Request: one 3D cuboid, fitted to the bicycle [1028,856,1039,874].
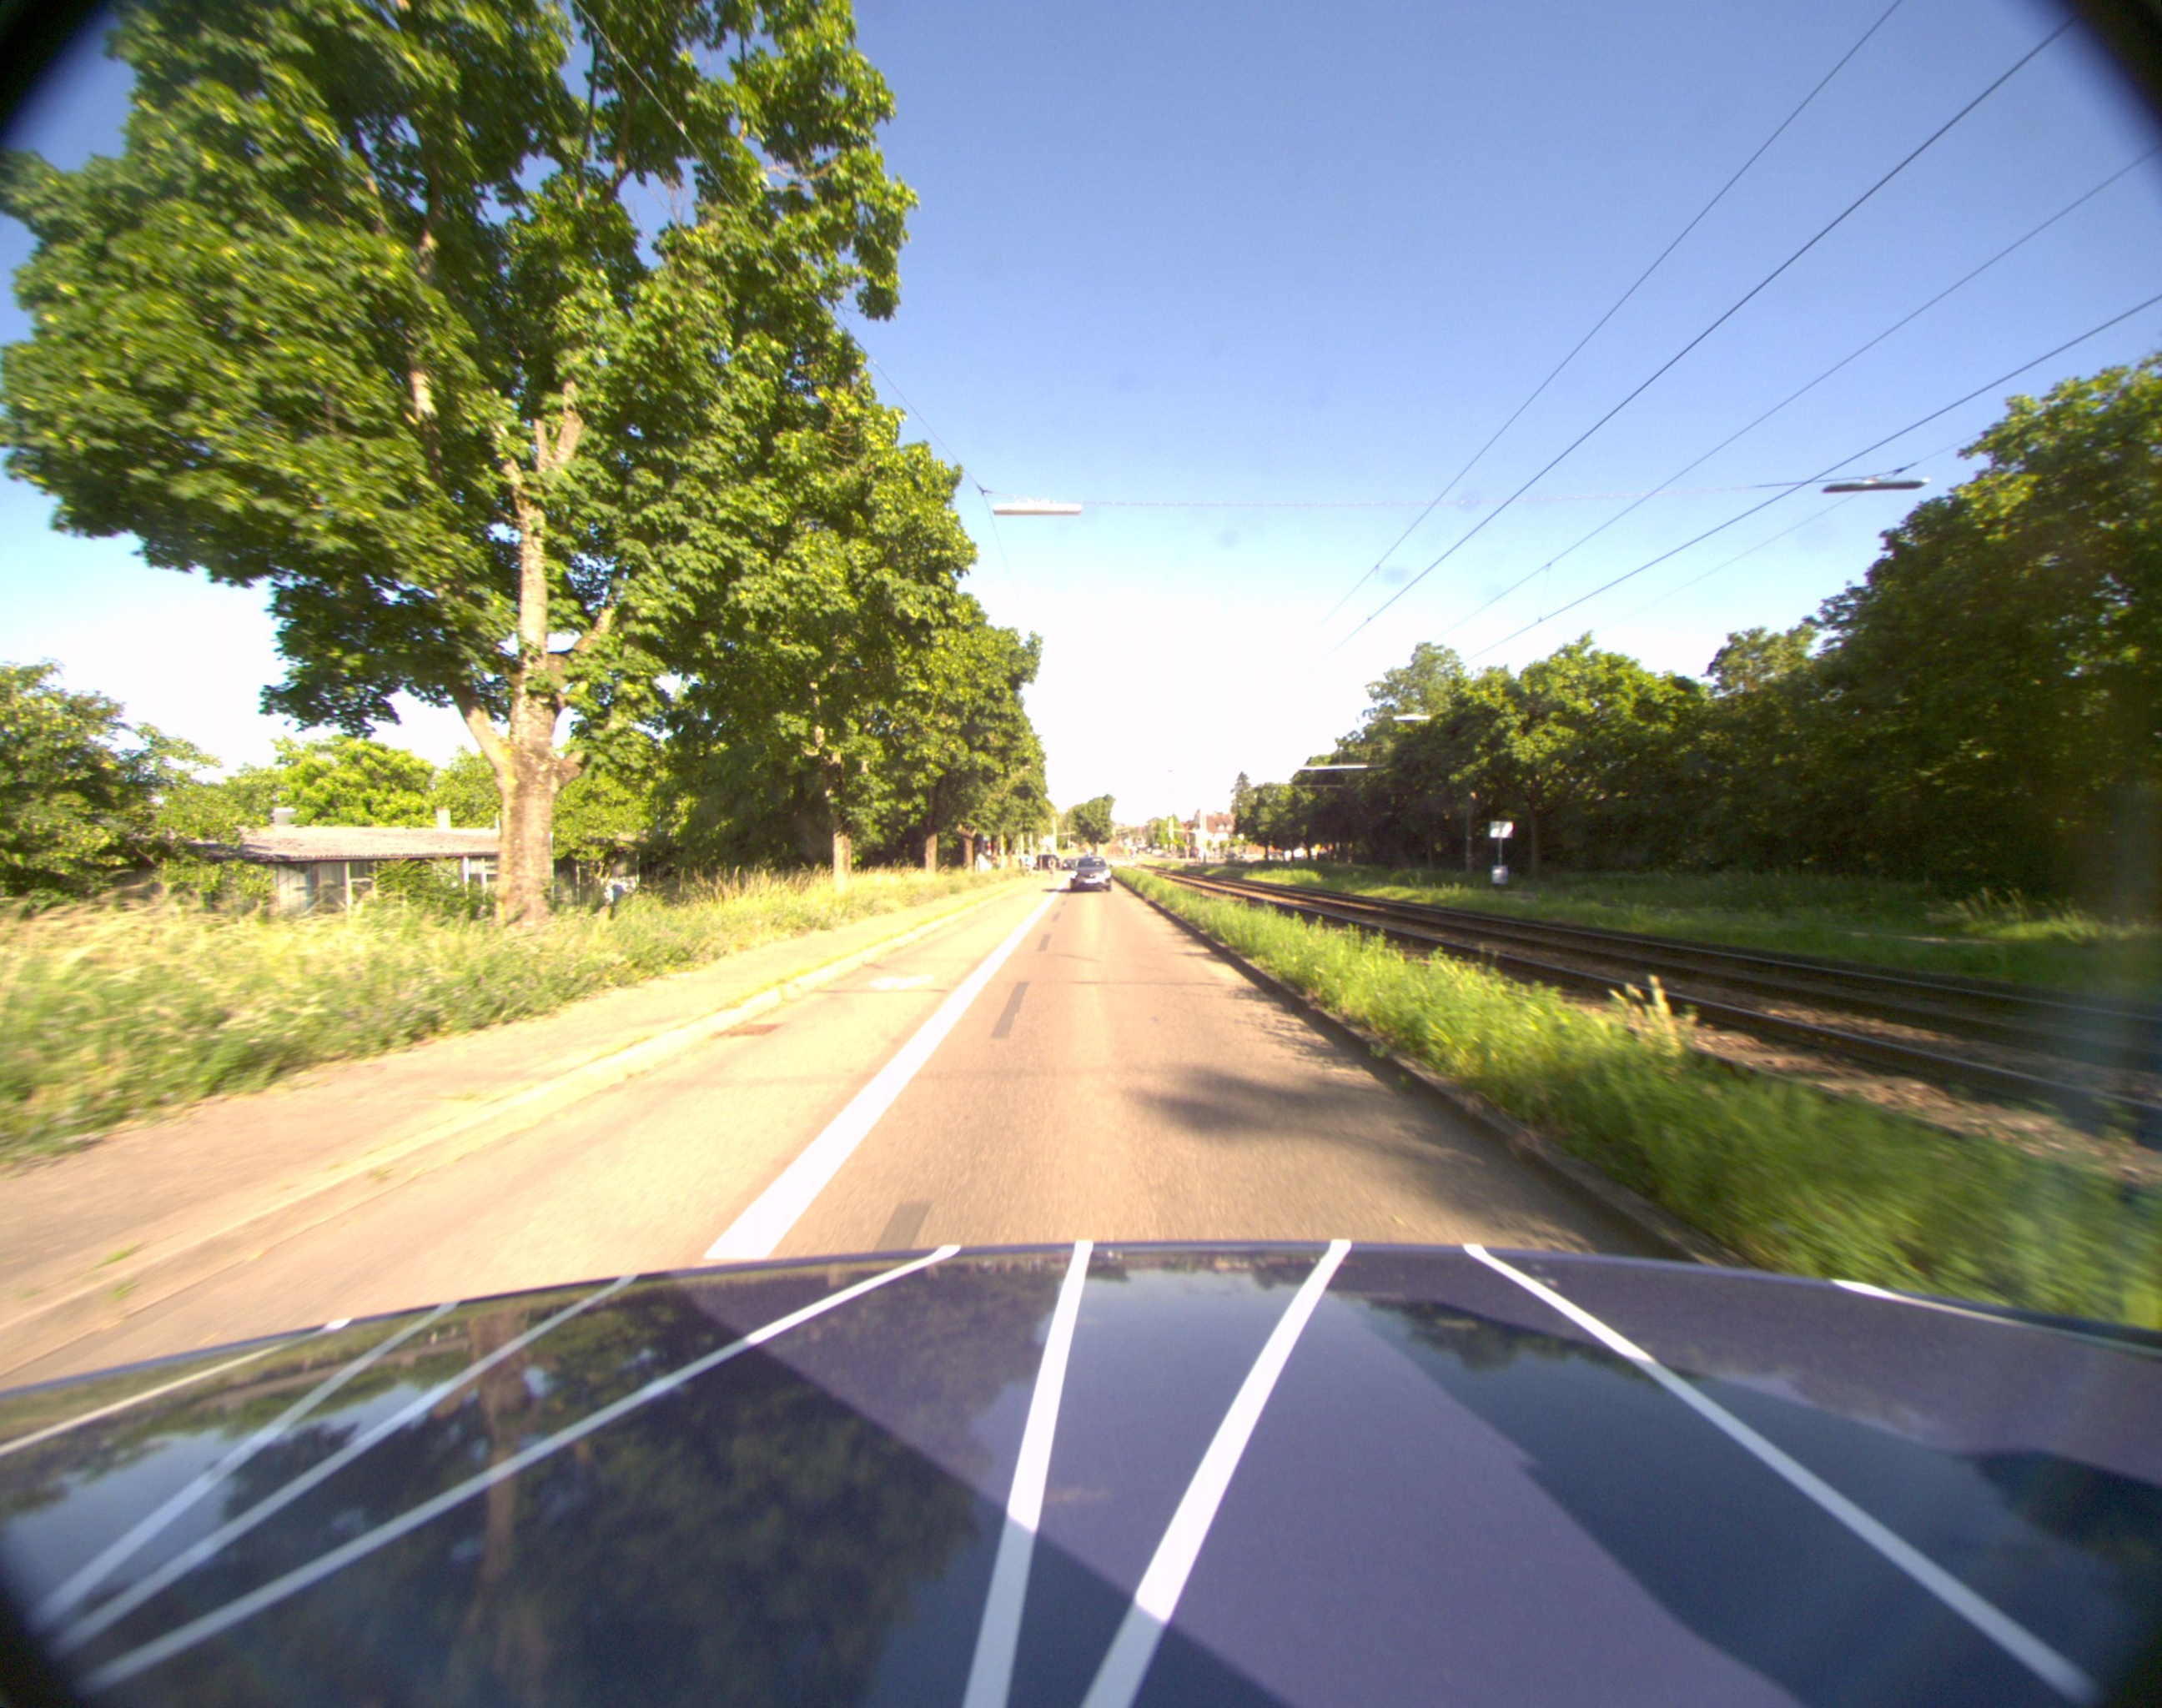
[{"bbox_3d":[-3.658,0.827,58.338,0.647,1.344,2.240,-2,1,1],"label":"bicycle"}]

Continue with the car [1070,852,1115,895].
[{"bbox_3d":[0.518,0.799,33.485,1.814,1.625,4.709,-2,1,1],"label":"car"}]

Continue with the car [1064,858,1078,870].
[{"bbox_3d":[-1.190,1.213,90.254,1.563,1.279,3.455,-2,1,1],"label":"car"}]

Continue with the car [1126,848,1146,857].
[{"bbox_3d":[12.534,-0.283,172.271,4.003,1.936,1.968,-2,1,-19],"label":"car"}]

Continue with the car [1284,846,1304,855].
[{"bbox_3d":[49.815,-0.805,177.872,4.003,1.936,1.968,-2,1,-19],"label":"car"}]

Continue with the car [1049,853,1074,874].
[{"bbox_3d":[-1.619,0.778,64.527,1.814,1.625,4.128,-2,1,1],"label":"car"}]

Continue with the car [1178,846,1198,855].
[{"bbox_3d":[24.842,-0.798,175.883,4.003,1.936,1.968,-2,1,-19],"label":"car"}]

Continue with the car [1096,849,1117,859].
[{"bbox_3d":[5.701,0.008,169.608,4.003,1.936,1.968,-2,1,-19],"label":"car"}]

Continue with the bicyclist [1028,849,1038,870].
[{"bbox_3d":[-3.678,0.427,58.267,0.655,1.575,0.698,-2,1,1],"label":"bicyclist"}]
